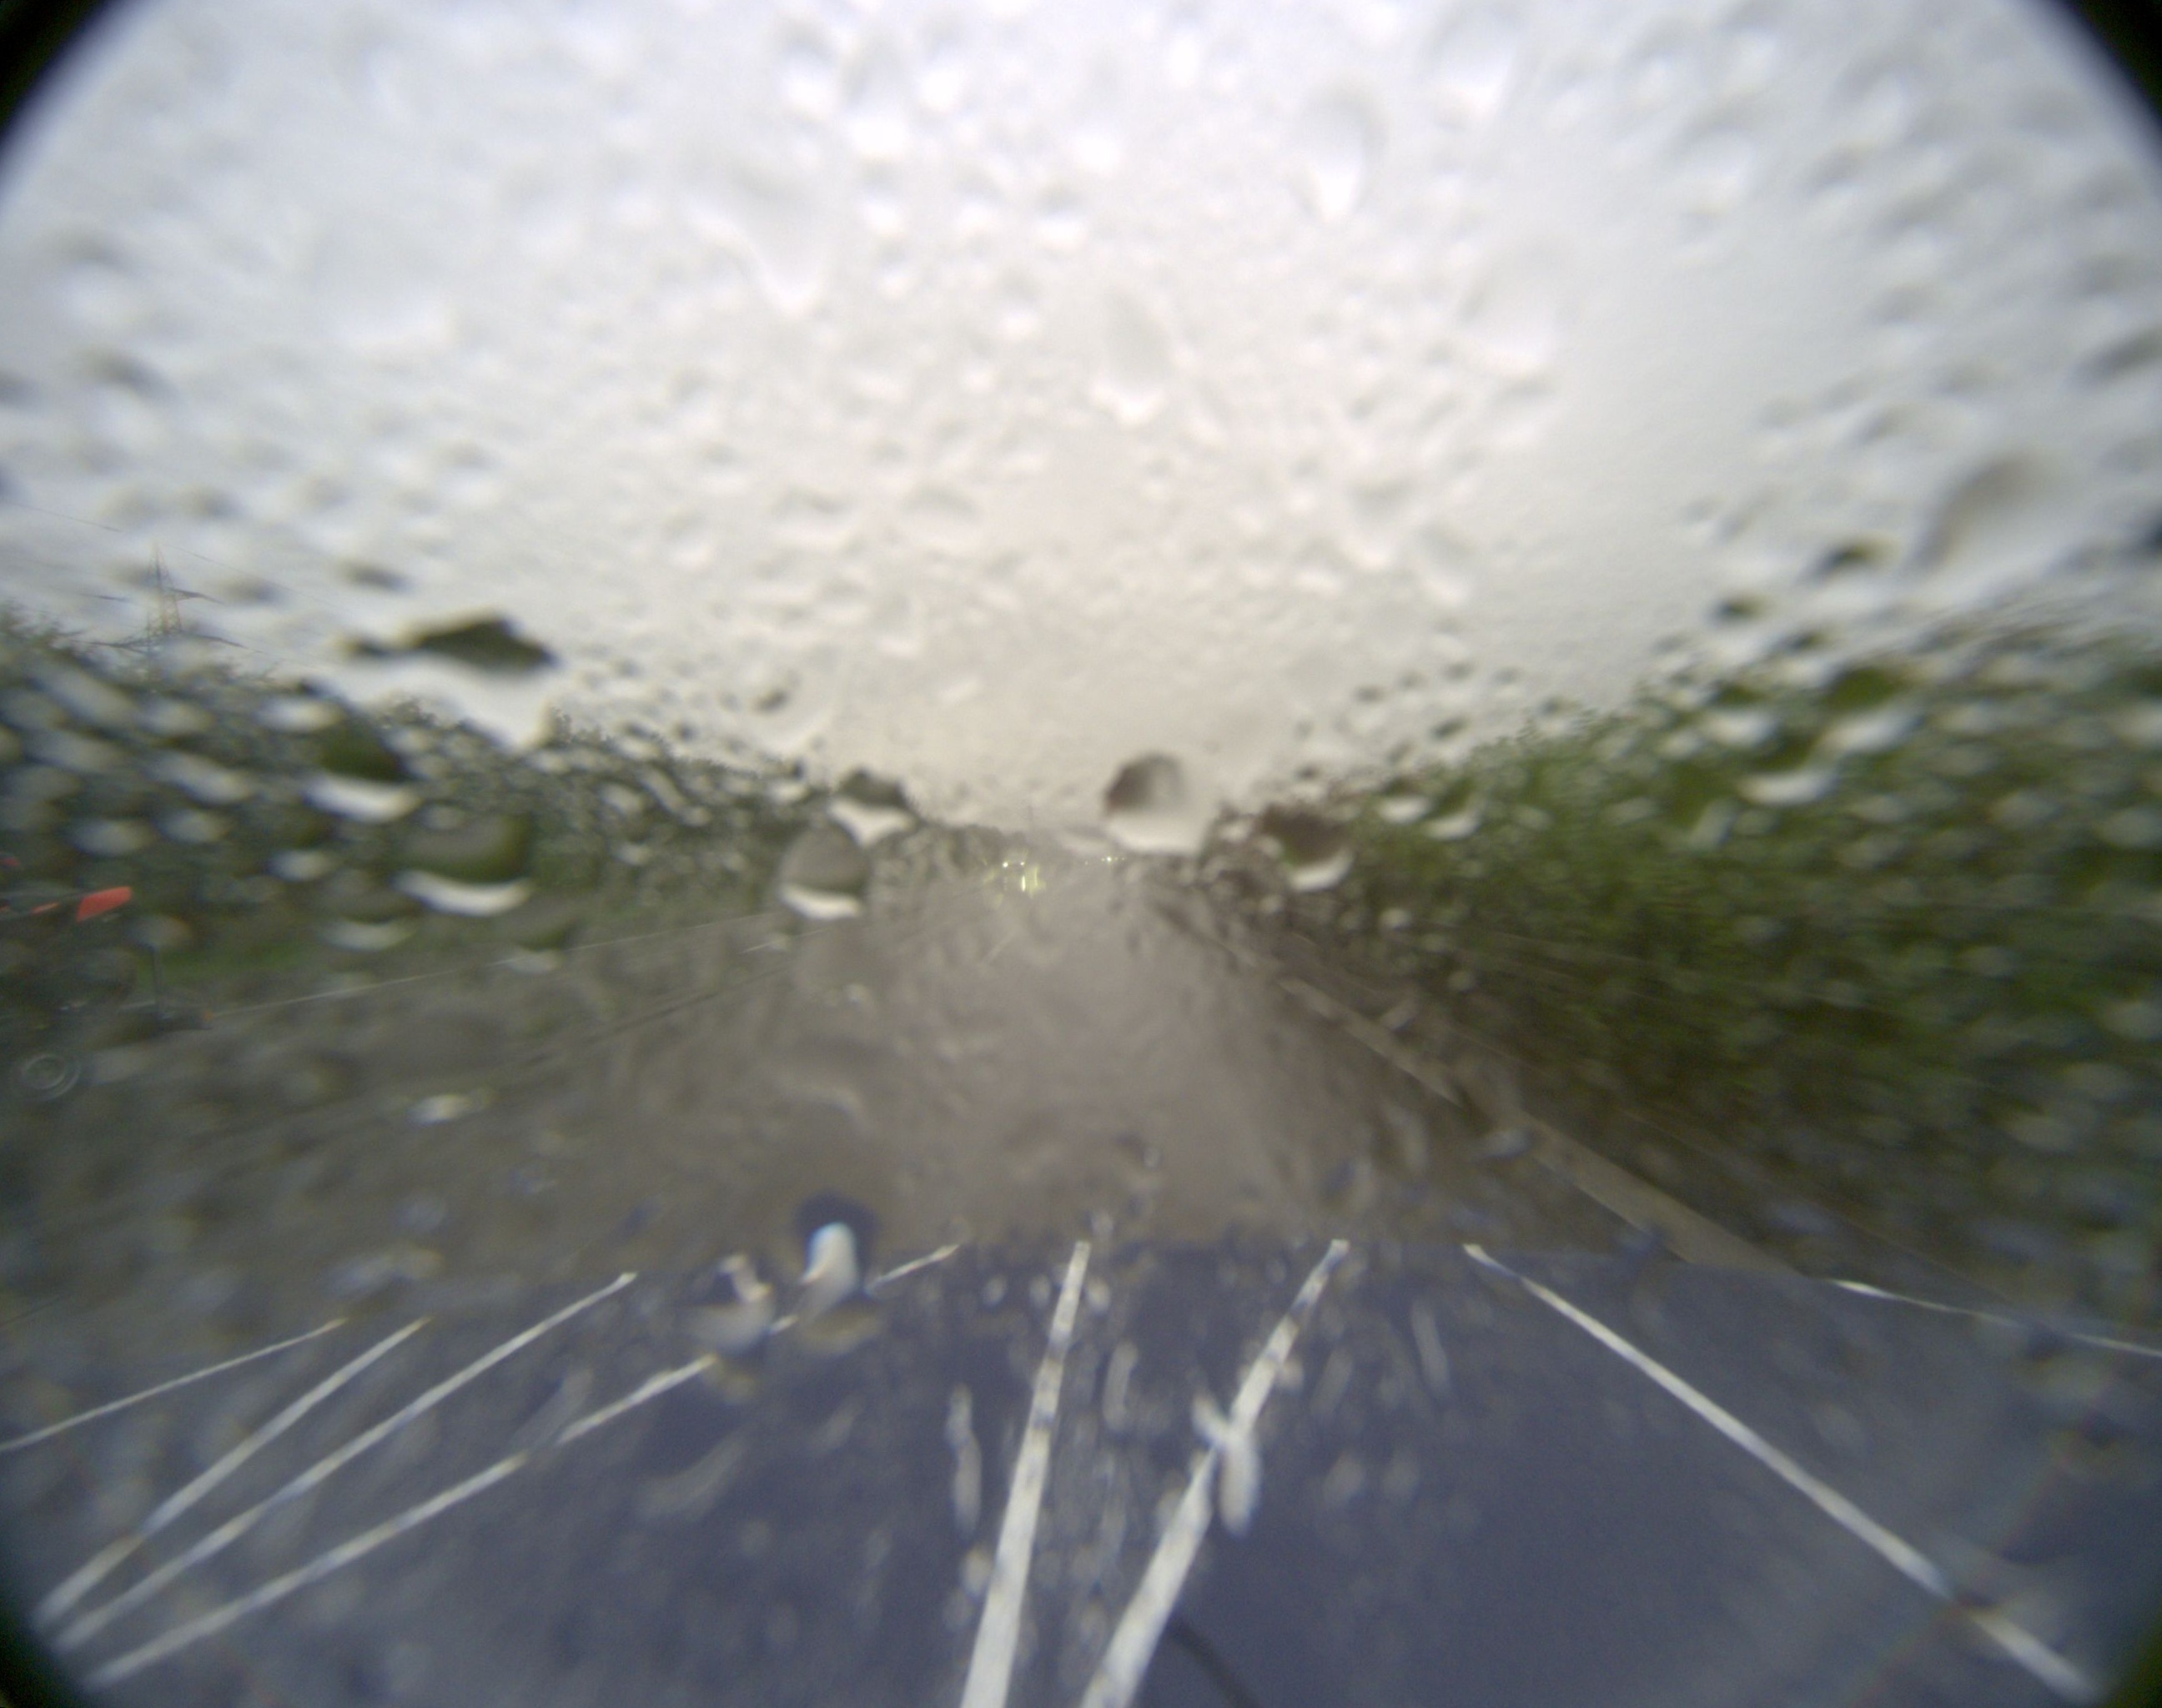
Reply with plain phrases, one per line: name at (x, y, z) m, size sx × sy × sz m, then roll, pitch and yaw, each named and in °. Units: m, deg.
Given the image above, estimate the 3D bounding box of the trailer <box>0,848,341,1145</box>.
trailer at (-7.513, 0.895, 5.013) m, size 1.983 × 1.775 × 3.189 m, roll -2°, pitch 1°, yaw 3°

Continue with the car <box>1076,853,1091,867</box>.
car at (0.378, 0.868, 110.276) m, size 1.998 × 2.002 × 4.000 m, roll -2°, pitch 0°, yaw 2°

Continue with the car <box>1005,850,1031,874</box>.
car at (-5.773, 0.732, 70.381) m, size 1.998 × 2.002 × 4.000 m, roll -3°, pitch 0°, yaw 0°

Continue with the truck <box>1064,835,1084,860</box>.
truck at (-1.268, -1.230, 149.728) m, size 3.135 × 4.641 × 11.405 m, roll -2°, pitch 0°, yaw 3°
